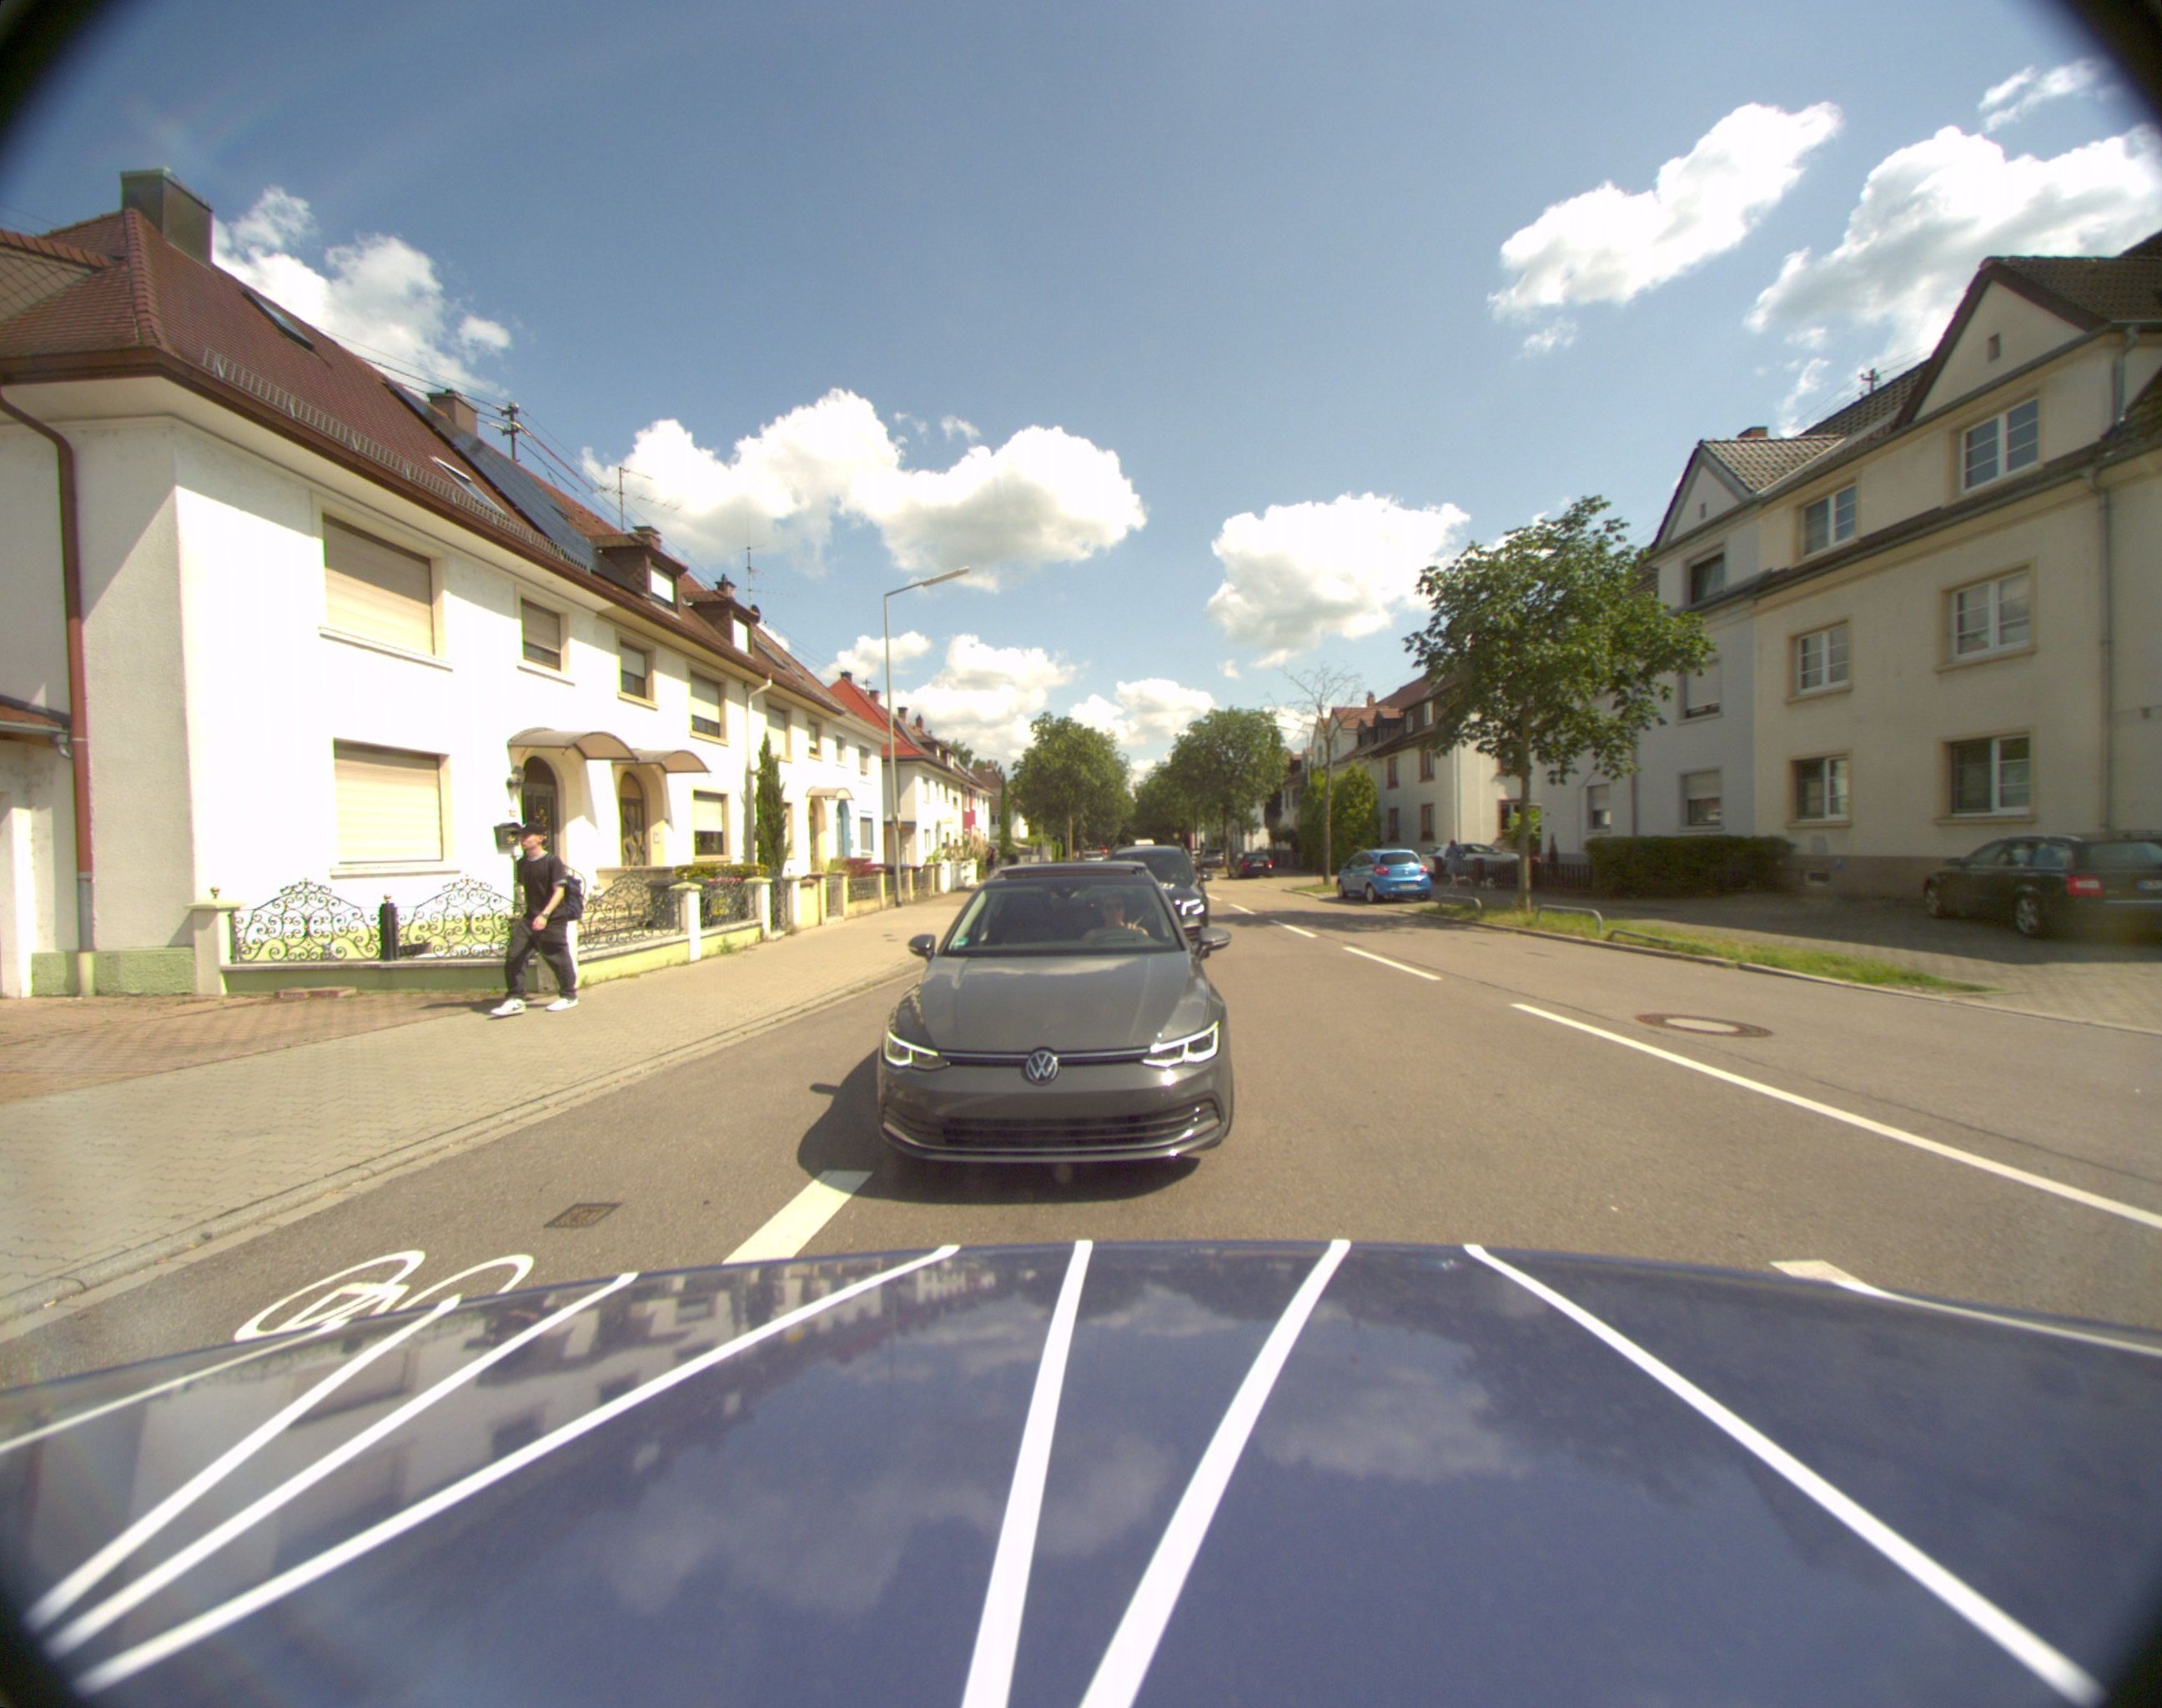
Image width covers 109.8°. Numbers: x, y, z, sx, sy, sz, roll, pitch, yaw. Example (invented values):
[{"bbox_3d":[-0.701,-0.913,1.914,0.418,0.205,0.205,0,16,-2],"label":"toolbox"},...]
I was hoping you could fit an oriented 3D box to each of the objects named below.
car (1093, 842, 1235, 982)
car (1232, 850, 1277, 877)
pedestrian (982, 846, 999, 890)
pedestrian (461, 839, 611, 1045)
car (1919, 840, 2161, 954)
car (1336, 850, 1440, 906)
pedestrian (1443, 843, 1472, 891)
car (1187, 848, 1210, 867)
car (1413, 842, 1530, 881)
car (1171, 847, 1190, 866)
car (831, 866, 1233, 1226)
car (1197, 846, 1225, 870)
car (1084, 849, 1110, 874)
[{"bbox_3d":[1.118,0.722,12.104,1.776,1.754,4.874,-1,0,1],"label":"car"},{"bbox_3d":[8.960,0.463,39.482,1.709,1.289,3.918,-1,0,4],"label":"car"},{"bbox_3d":[-3.592,0.542,30.188,0.519,1.701,0.618,-1,1,2],"label":"pedestrian"},{"bbox_3d":[-5.015,0.747,7.032,0.591,1.757,0.939,0,1,29],"label":"pedestrian"},{"bbox_3d":[14.247,0.501,10.985,1.757,1.378,4.110,-1,1,31],"label":"car"},{"bbox_3d":[8.630,0.624,21.645,1.709,1.454,3.154,-1,0,1],"label":"car"},{"bbox_3d":[12.077,0.406,24.386,0.632,1.527,0.618,-1,1,1],"label":"pedestrian"},{"bbox_3d":[9.137,0.272,59.449,1.623,1.417,3.002,-2,0,6],"label":"car"},{"bbox_3d":[15.641,0.288,30.573,3.805,1.446,1.711,-1,1,4],"label":"car"},{"bbox_3d":[8.949,0.217,68.491,1.562,1.645,3.252,-1,0,4],"label":"car"},{"bbox_3d":[-0.247,0.895,5.738,1.766,1.465,4.686,-1,0,-1],"label":"car"},{"bbox_3d":[9.128,0.255,53.424,1.562,1.645,3.574,-1,0,4],"label":"car"},{"bbox_3d":[1.082,0.476,49.954,1.381,1.493,3.002,-2,1,6],"label":"car"}]
